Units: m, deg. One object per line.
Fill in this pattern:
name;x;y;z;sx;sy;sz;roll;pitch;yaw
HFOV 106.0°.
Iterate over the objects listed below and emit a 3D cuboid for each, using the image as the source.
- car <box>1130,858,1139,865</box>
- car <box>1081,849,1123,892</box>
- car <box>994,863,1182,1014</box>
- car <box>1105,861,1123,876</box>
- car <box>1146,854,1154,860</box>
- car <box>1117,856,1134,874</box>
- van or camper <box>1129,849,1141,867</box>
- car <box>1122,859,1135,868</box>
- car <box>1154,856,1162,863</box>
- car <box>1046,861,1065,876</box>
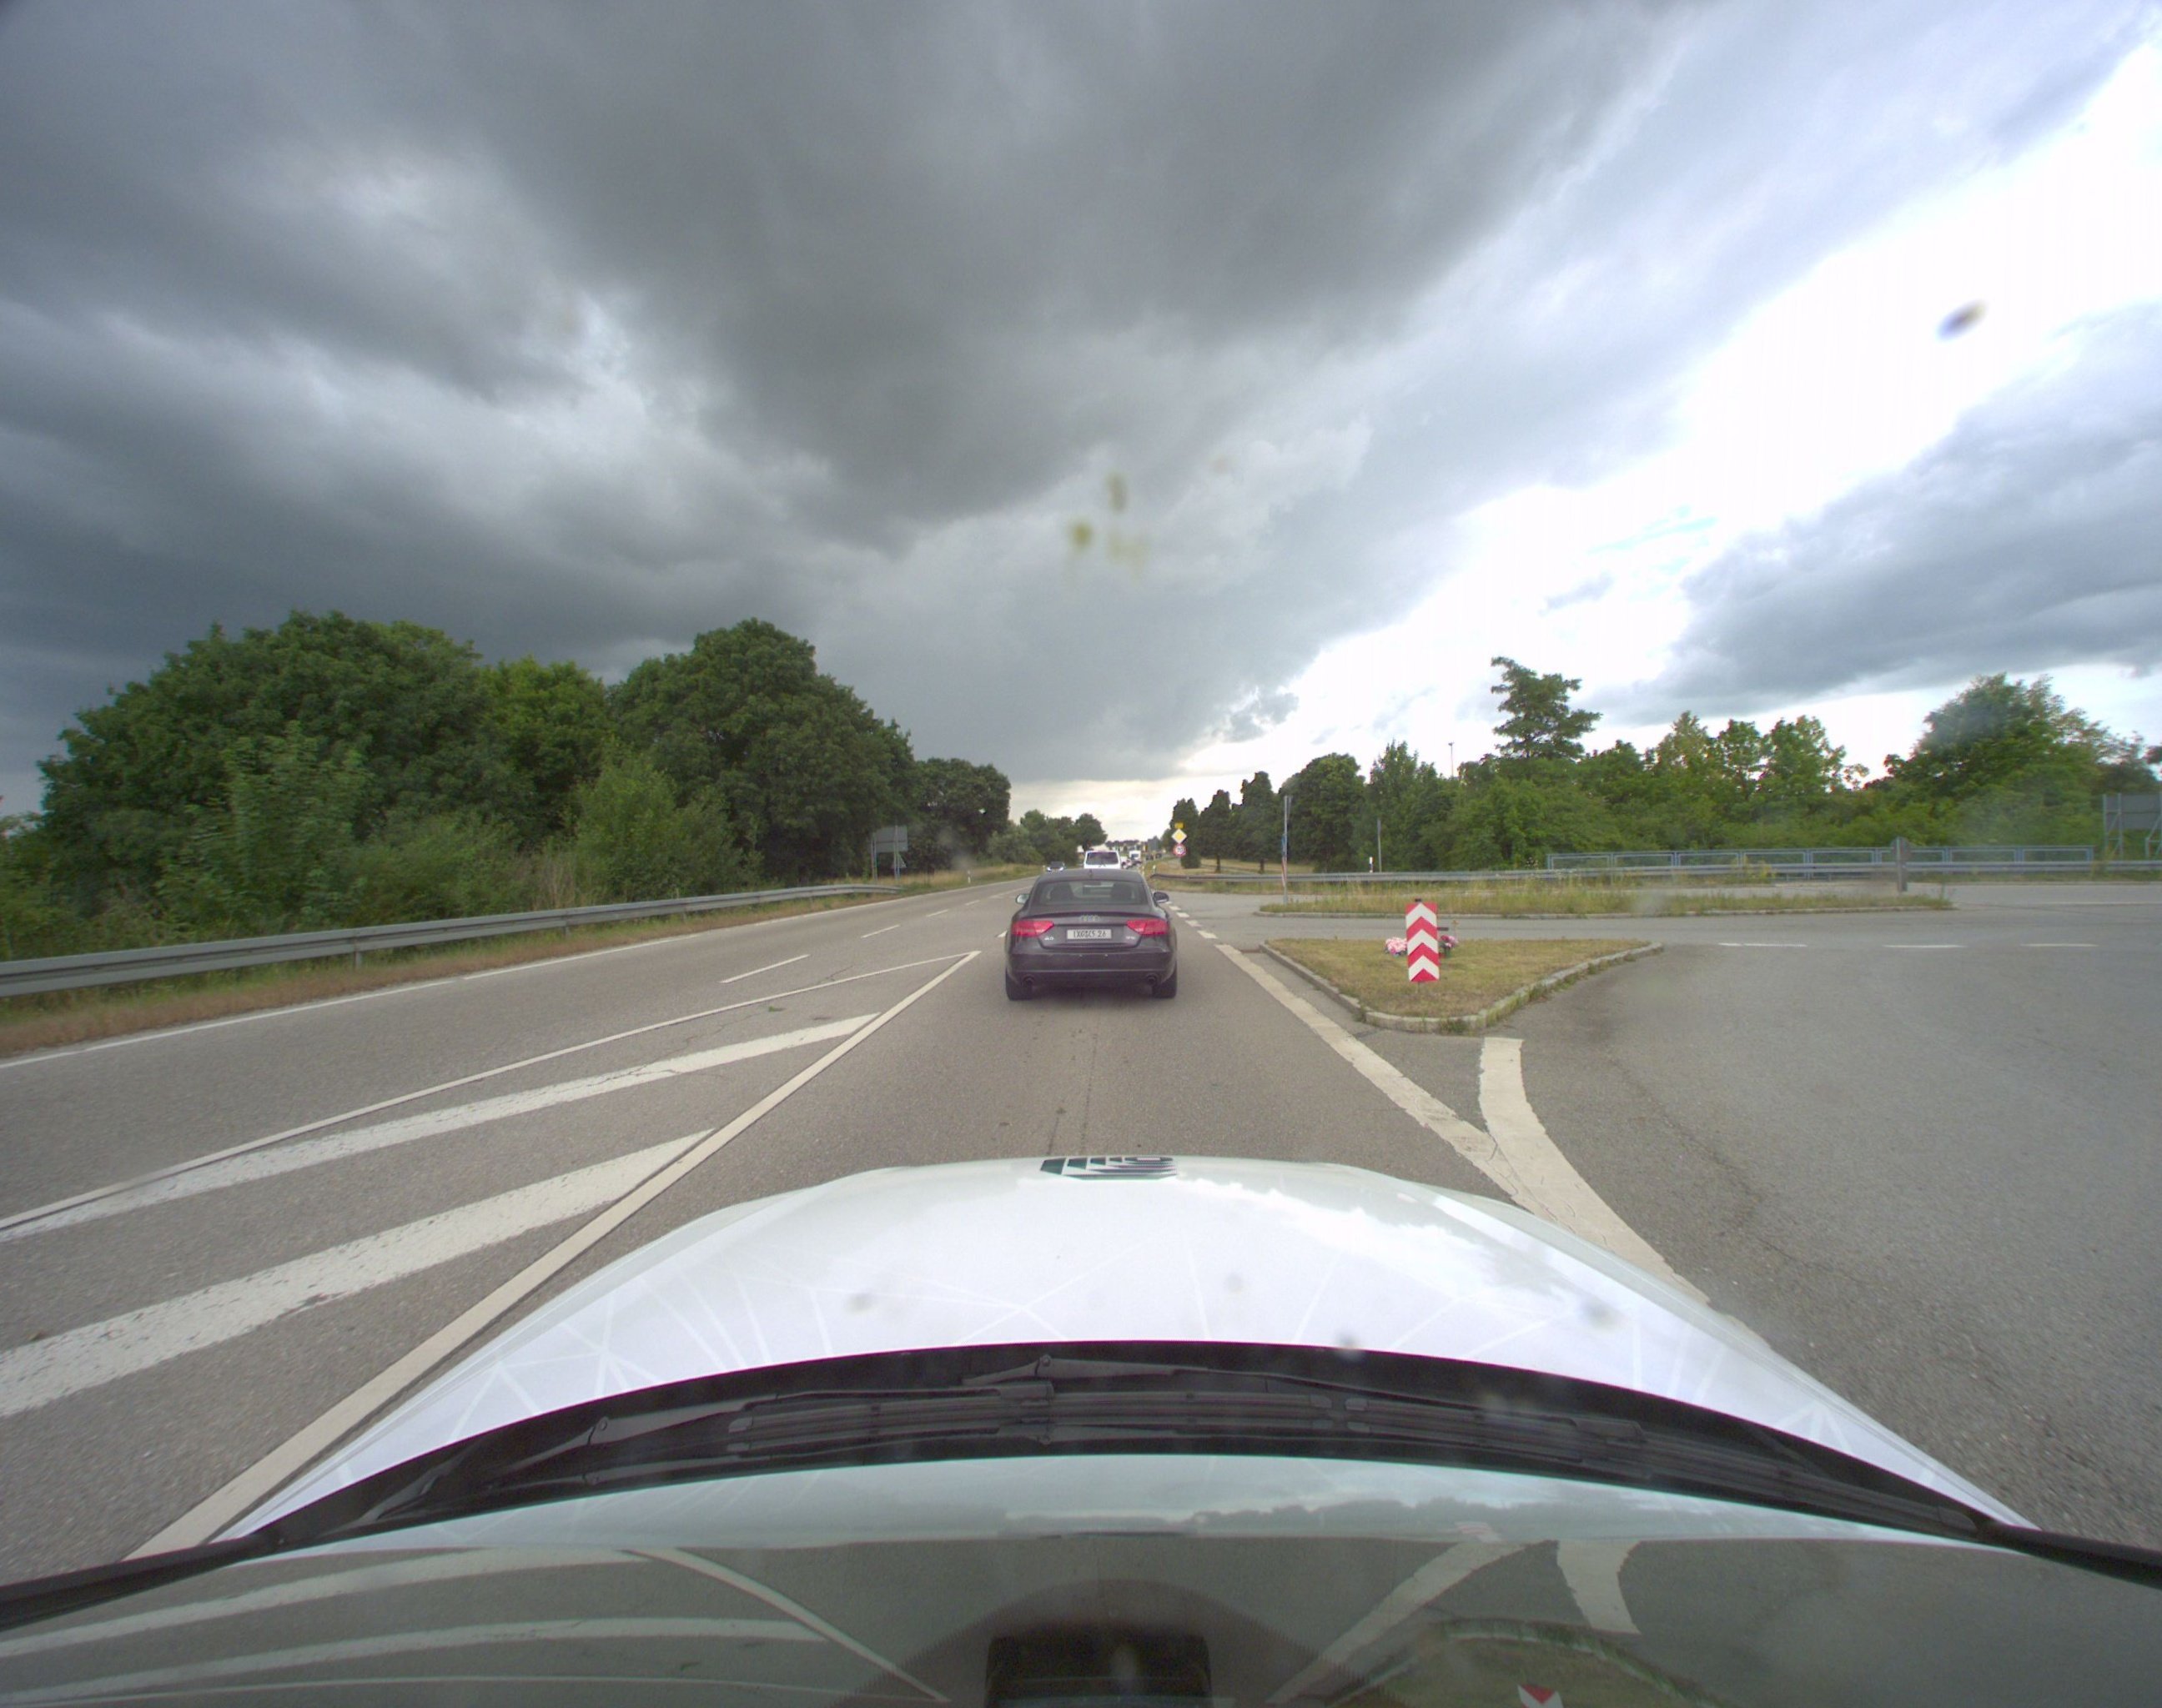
car;9.679;1.327;147.601;1.251;1.353;3.473;-1;-1;8
car;0.979;0.716;37.662;1.832;1.882;4.002;0;0;2
car;0.129;0.828;9.761;1.776;1.376;4.002;0;0;2
car;3.550;1.528;87.125;1.787;1.464;3.253;-1;-1;5
car;17.320;0.760;204.617;1.712;1.451;4.003;0;0;3
car;5.606;1.380;103.070;1.984;2.088;4.005;-1;-1;5
van or camper;11.056;0.787;165.907;2.330;3.481;5.724;-1;-1;4
car;7.828;1.523;133.766;1.726;1.514;3.754;-1;-1;8
car;21.712;1.487;231.053;1.986;2.014;4.001;-1;0;1
car;-2.678;1.528;85.410;1.704;1.523;4.002;-1;0;2
